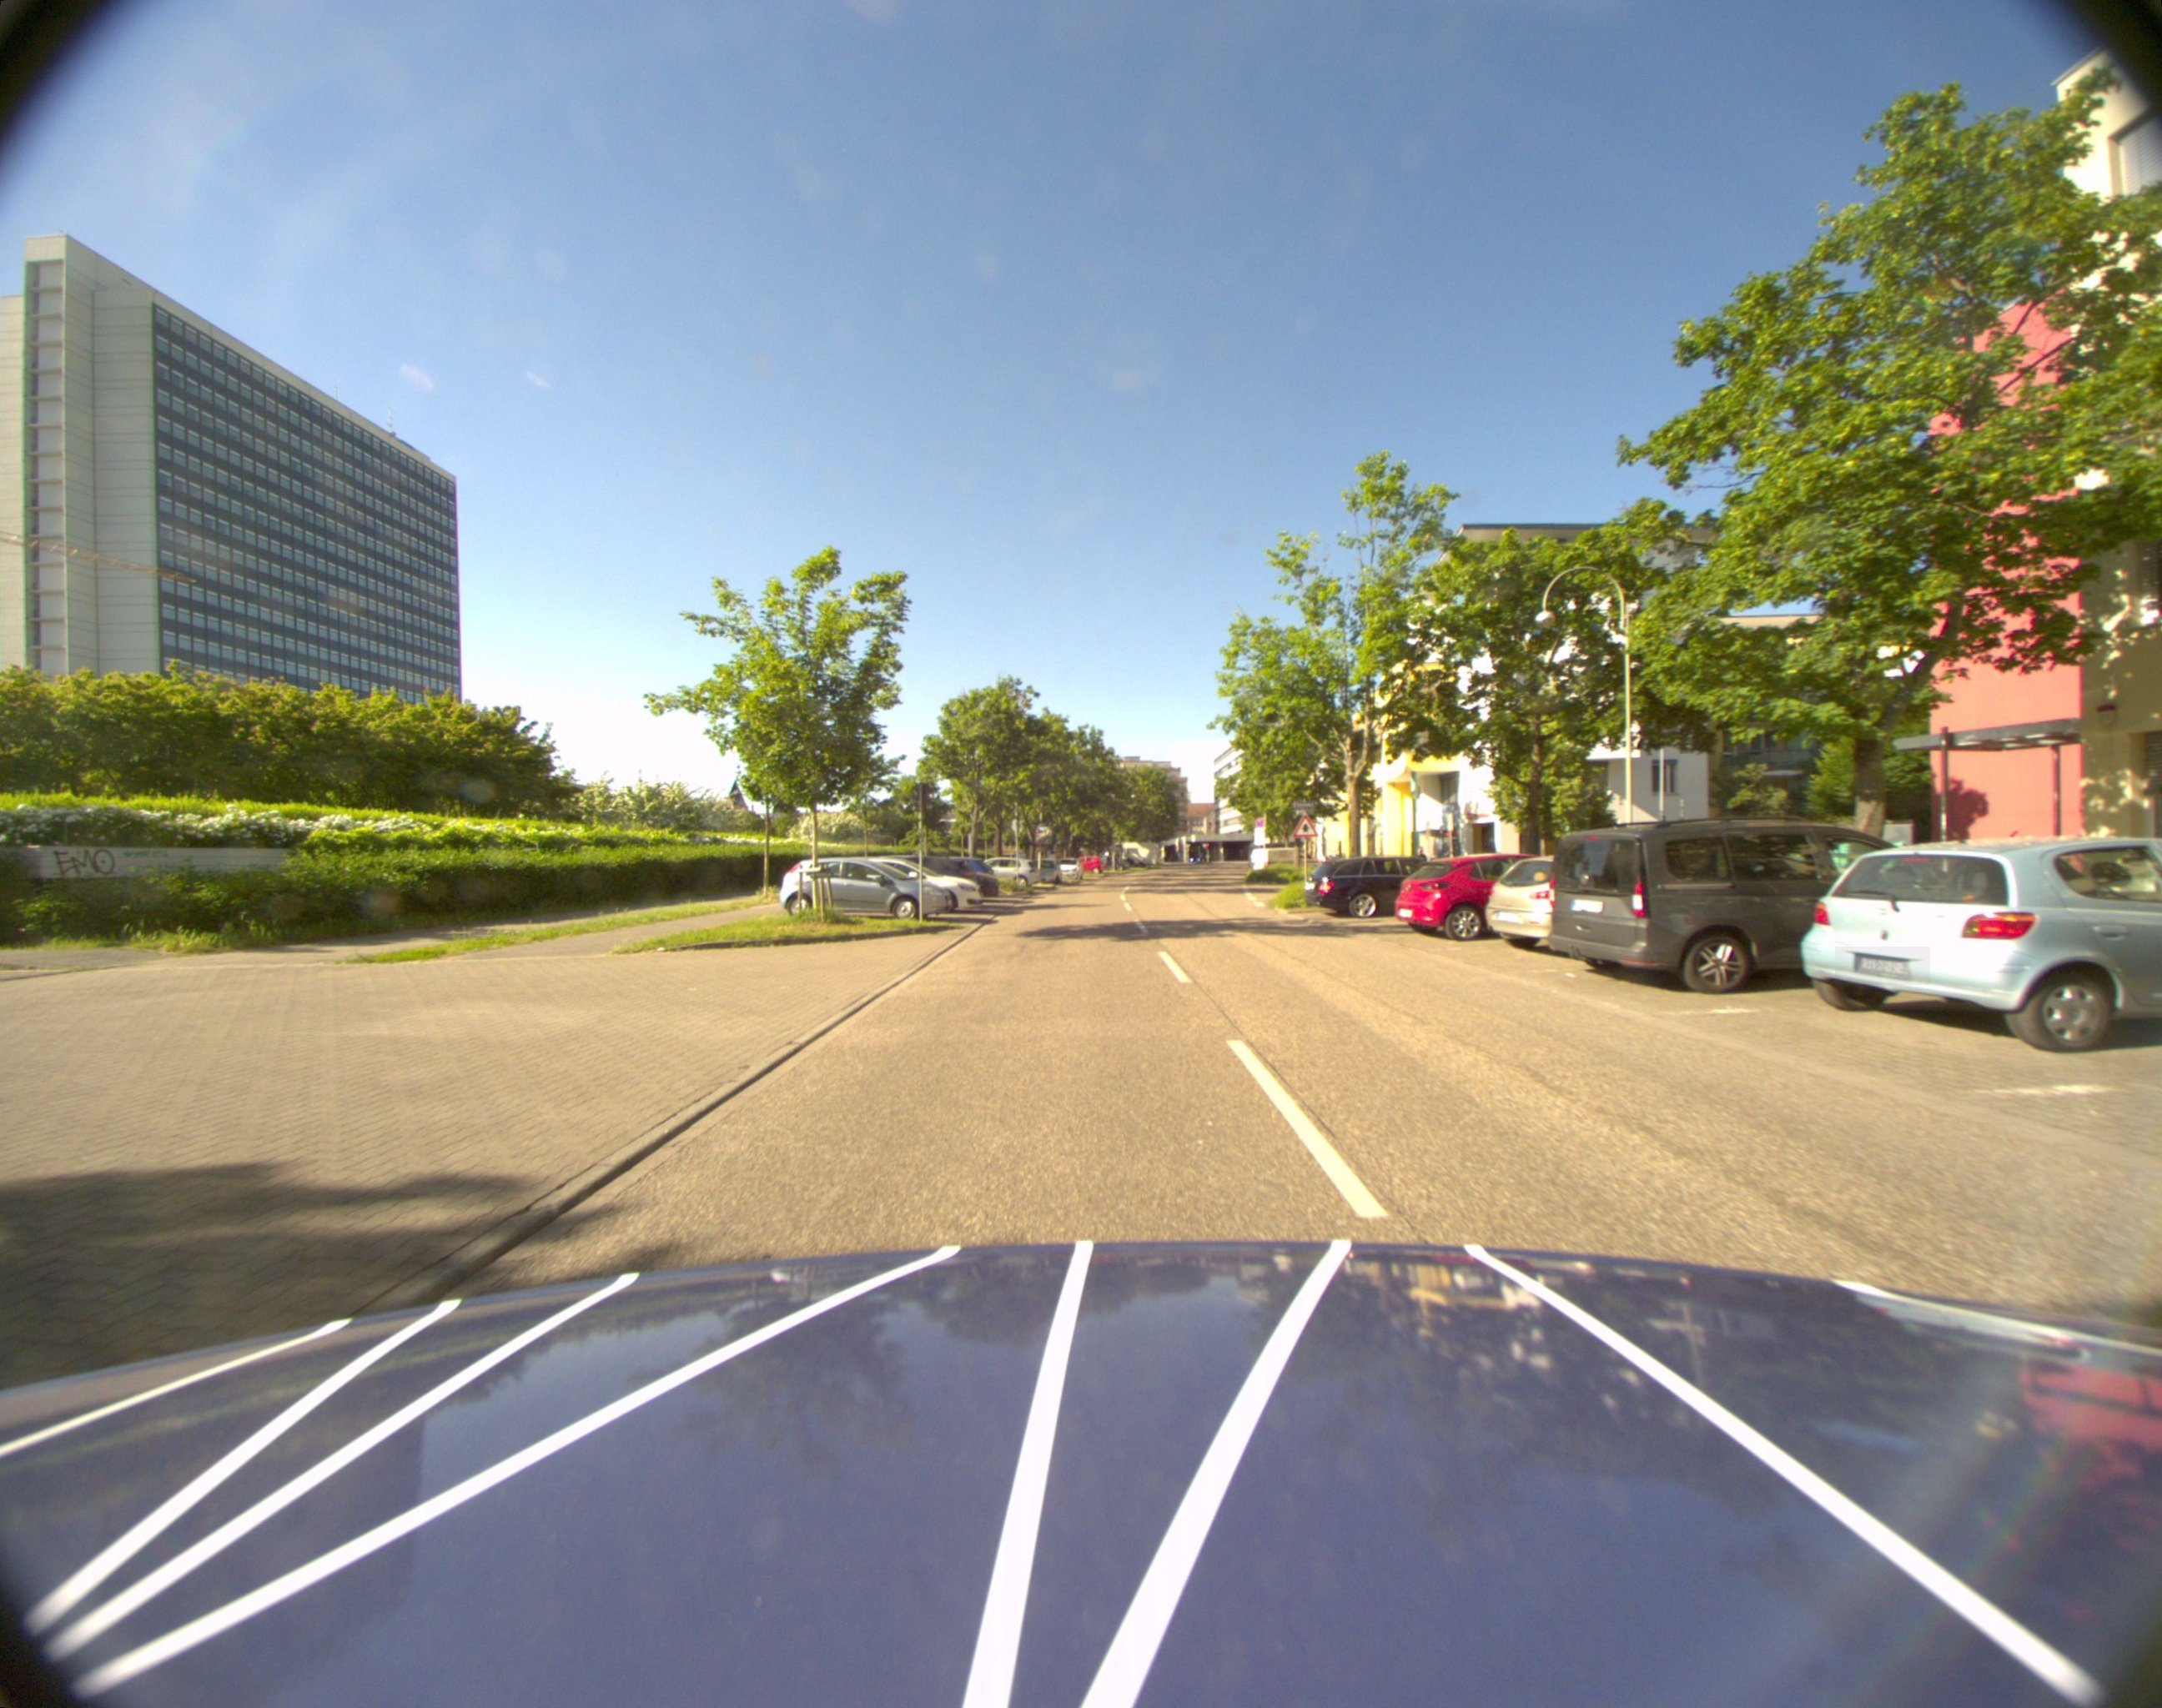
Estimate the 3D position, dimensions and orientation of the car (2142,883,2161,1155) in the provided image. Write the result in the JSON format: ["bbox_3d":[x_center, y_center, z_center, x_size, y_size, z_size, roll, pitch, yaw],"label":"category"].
[{"bbox_3d":[7.620,0.795,3.237,3.736,1.438,1.875,-3,0,-3],"label":"car"}]

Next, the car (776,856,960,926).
[{"bbox_3d":[-5.110,0.863,18.540,3.957,1.506,1.701,2,1,2],"label":"car"}]

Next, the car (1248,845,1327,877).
[{"bbox_3d":[13.711,0.450,50.475,4.776,1.973,1.997,-2,0,-23],"label":"car"}]

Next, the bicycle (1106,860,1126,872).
[{"bbox_3d":[3.127,1.095,68.428,1.752,0.985,0.531,1,1,25],"label":"bicycle"}]

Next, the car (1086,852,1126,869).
[{"bbox_3d":[2.503,0.642,75.581,3.465,1.471,1.862,2,1,19],"label":"car"}]

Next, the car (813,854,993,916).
[{"bbox_3d":[-4.893,0.836,21.388,4.561,1.506,1.982,2,1,0],"label":"car"}]

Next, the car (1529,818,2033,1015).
[{"bbox_3d":[7.514,0.633,8.479,3.901,1.800,1.786,-3,0,1],"label":"car"}]

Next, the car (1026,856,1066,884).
[{"bbox_3d":[-1.994,0.904,44.552,1.813,1.485,4.625,2,0,4],"label":"car"}]

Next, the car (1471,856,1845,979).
[{"bbox_3d":[7.932,0.829,10.735,3.901,1.415,1.739,-3,0,1],"label":"car"}]

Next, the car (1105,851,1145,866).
[{"bbox_3d":[4.968,0.530,85.730,4.155,1.537,1.860,2,1,11],"label":"car"}]

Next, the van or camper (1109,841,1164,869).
[{"bbox_3d":[6.498,0.115,88.391,5.990,2.967,2.673,2,1,12],"label":"van or camper"}]

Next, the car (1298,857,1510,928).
[{"bbox_3d":[7.557,0.888,18.090,4.272,1.415,1.740,-3,0,4],"label":"car"}]

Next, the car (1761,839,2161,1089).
[{"bbox_3d":[8.209,0.718,6.024,3.901,1.565,1.859,-3,0,1],"label":"car"}]

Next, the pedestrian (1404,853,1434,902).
[{"bbox_3d":[12.025,0.832,27.072,0.658,1.716,1.022,0,1,5],"label":"pedestrian"}]

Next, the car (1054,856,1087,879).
[{"bbox_3d":[-0.690,0.881,52.159,1.646,1.485,3.768,2,1,8],"label":"car"}]

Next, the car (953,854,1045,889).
[{"bbox_3d":[-3.929,0.799,36.672,4.096,1.421,1.643,3,1,7],"label":"car"}]

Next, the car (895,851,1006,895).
[{"bbox_3d":[-4.927,0.698,28.987,3.814,1.440,1.745,3,1,3],"label":"car"}]

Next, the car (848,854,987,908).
[{"bbox_3d":[-5.029,0.811,23.676,3.885,1.506,1.750,2,1,1],"label":"car"}]

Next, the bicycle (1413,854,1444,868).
[{"bbox_3d":[22.148,0.448,48.398,1.803,0.867,0.491,-2,1,-6],"label":"bicycle"}]

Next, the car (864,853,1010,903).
[{"bbox_3d":[-4.872,0.809,26.264,4.560,1.506,2.158,2,1,1],"label":"car"}]

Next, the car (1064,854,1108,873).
[{"bbox_3d":[0.467,0.800,66.188,3.438,1.535,1.629,2,1,14],"label":"car"}]

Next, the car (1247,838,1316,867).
[{"bbox_3d":[17.932,-0.132,68.106,5.507,2.422,2.184,-2,0,-14],"label":"car"}]

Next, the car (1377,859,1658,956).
[{"bbox_3d":[7.519,0.885,13.367,3.901,1.415,1.739,-3,0,1],"label":"car"}]

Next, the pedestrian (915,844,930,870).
[{"bbox_3d":[-9.491,0.160,45.517,0.608,1.533,0.937,0,1,7],"label":"pedestrian"}]

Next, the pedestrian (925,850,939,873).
[{"bbox_3d":[-10.275,0.494,52.373,0.725,1.578,0.853,0,1,3],"label":"pedestrian"}]

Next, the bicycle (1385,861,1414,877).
[{"bbox_3d":[22.248,1.026,53.084,1.800,1.091,0.702,0,1,14],"label":"bicycle"}]

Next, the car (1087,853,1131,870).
[{"bbox_3d":[2.918,0.794,78.277,4.199,1.537,1.861,2,1,14],"label":"car"}]
